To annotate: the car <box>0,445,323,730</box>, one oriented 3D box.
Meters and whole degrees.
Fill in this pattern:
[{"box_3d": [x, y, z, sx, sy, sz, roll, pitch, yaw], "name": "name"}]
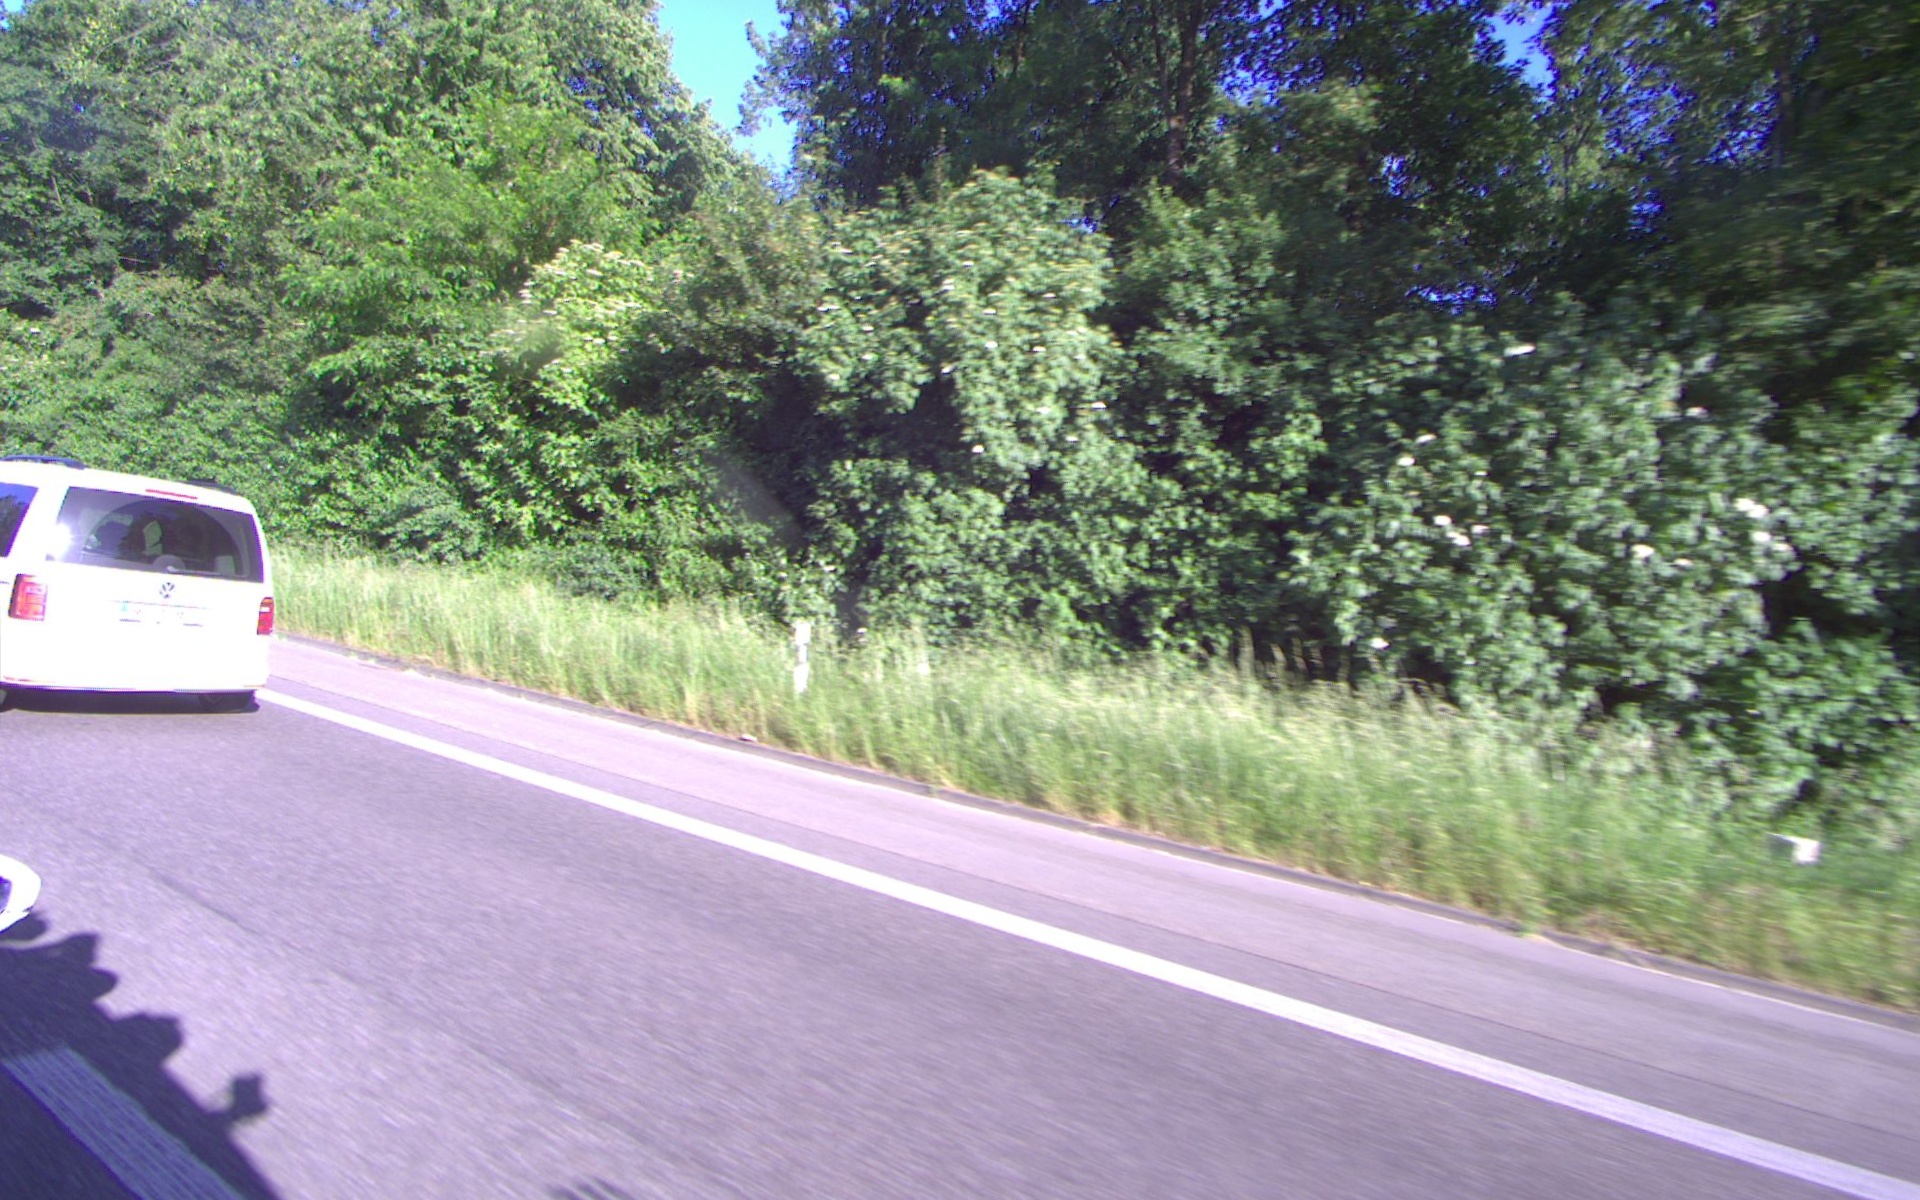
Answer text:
[{"box_3d": [-7.559, -0.190, 8.398, 4.511, 1.834, 1.803, 6, -2, 31], "name": "car"}]
